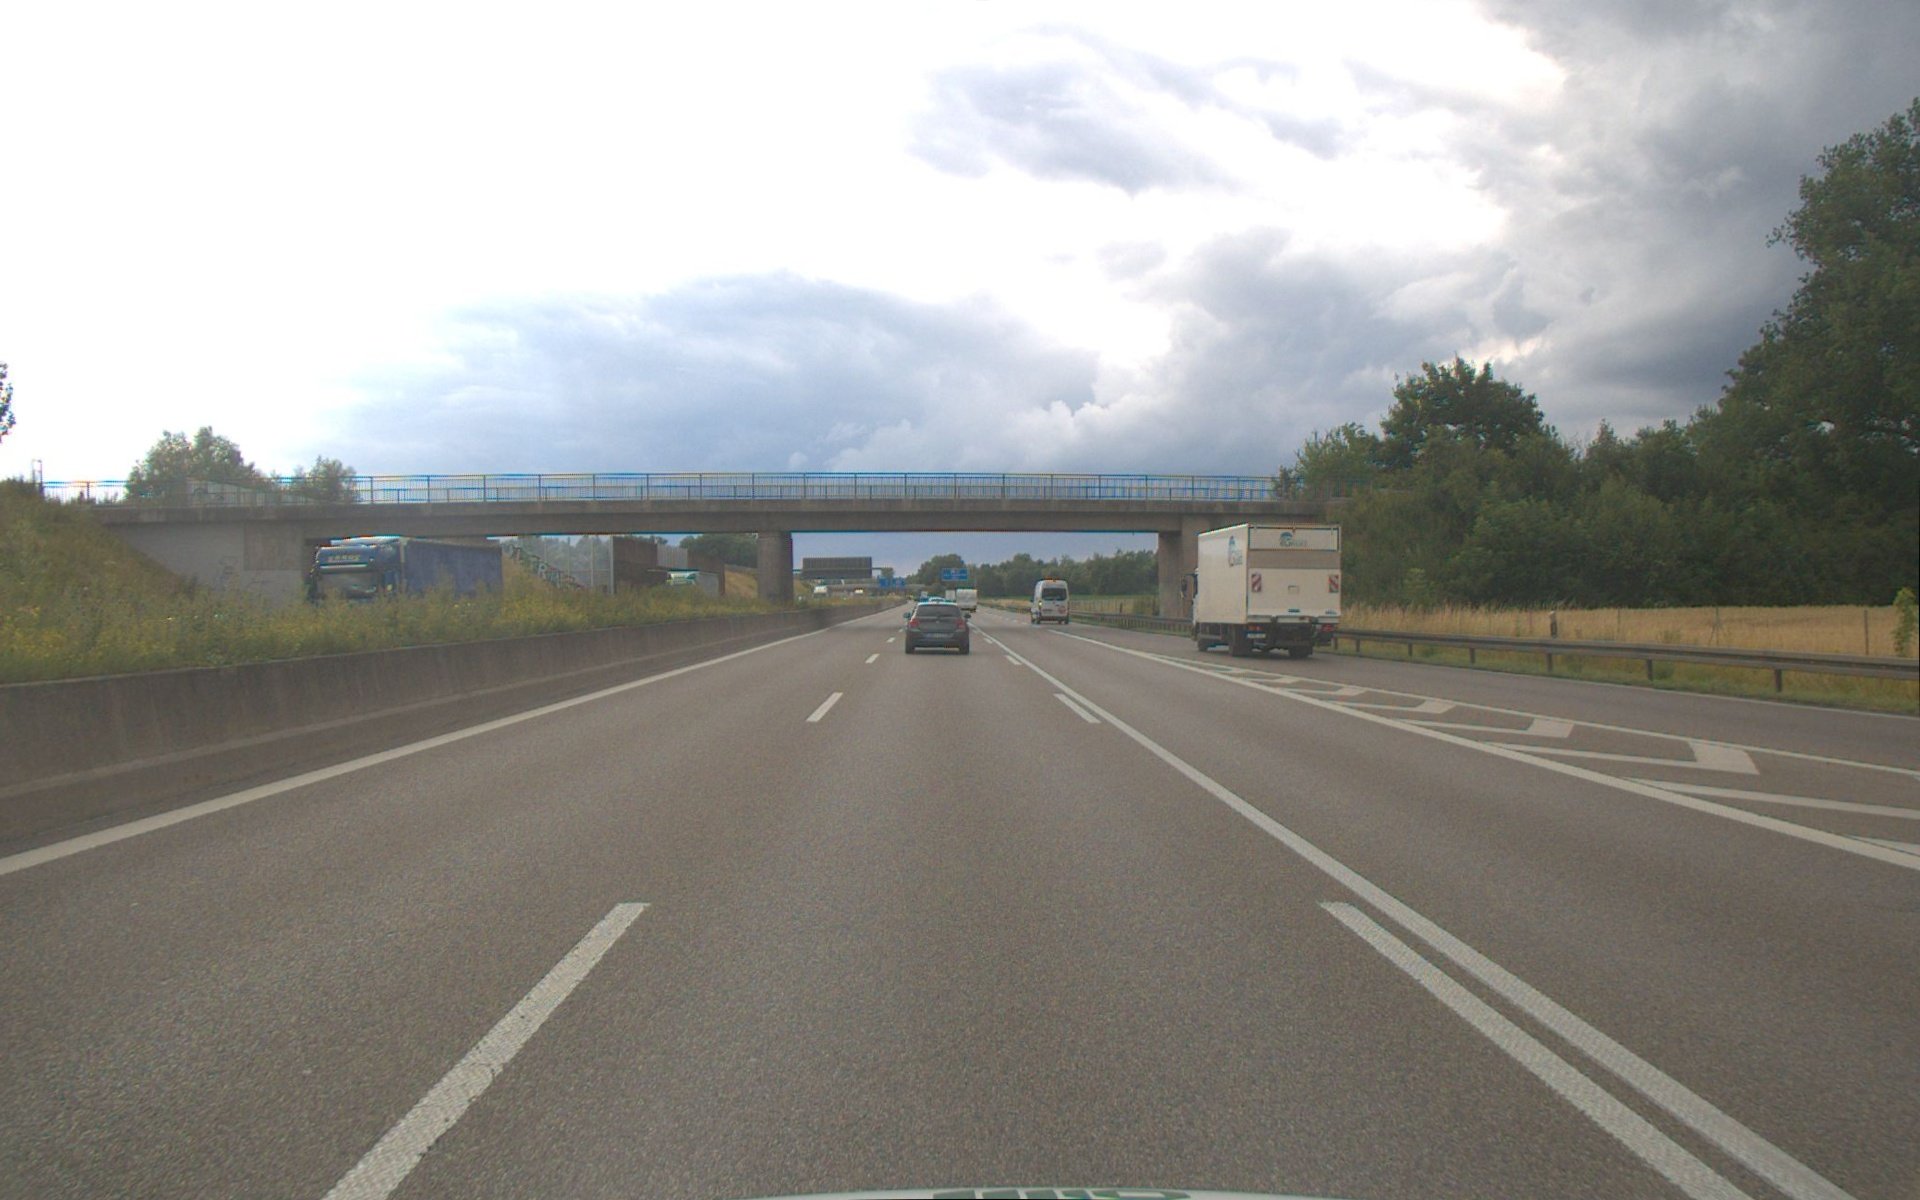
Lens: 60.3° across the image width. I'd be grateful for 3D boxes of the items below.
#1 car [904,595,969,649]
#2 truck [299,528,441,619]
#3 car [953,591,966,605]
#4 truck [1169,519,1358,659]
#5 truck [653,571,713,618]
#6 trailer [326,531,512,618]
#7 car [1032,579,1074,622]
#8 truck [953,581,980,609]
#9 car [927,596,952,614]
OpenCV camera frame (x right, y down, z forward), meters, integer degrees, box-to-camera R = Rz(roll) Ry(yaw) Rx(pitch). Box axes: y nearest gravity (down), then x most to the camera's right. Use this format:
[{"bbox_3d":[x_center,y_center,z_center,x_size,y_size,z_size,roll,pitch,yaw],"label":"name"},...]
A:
[{"bbox_3d":[-0.658,0.586,45.971,1.708,1.413,3.999,1,0,-1],"label":"car"},{"bbox_3d":[-20.938,-0.895,59.081,2.851,2.998,6.114,1,0,-1],"label":"truck"},{"bbox_3d":[-0.062,-0.324,255.168,1.953,2.049,3.999,-1,0,-2],"label":"car"},{"bbox_3d":[8.386,-0.285,46.972,3.043,3.531,8.882,1,0,-5],"label":"truck"},{"bbox_3d":[-23.132,-0.409,138.789,2.936,3.748,13.006,0,0,-1],"label":"truck"},{"bbox_3d":[-21.016,-0.883,65.469,2.862,3.007,13.968,1,0,-1],"label":"trailer"},{"bbox_3d":[5.816,0.015,104.145,2.176,2.613,6.254,0,0,-1],"label":"car"},{"bbox_3d":[0.687,-0.568,188.592,2.655,3.016,12.443,1,0,-1],"label":"truck"},{"bbox_3d":[-1.652,0.382,131.082,1.953,1.321,3.999,-1,0,-2],"label":"car"}]
